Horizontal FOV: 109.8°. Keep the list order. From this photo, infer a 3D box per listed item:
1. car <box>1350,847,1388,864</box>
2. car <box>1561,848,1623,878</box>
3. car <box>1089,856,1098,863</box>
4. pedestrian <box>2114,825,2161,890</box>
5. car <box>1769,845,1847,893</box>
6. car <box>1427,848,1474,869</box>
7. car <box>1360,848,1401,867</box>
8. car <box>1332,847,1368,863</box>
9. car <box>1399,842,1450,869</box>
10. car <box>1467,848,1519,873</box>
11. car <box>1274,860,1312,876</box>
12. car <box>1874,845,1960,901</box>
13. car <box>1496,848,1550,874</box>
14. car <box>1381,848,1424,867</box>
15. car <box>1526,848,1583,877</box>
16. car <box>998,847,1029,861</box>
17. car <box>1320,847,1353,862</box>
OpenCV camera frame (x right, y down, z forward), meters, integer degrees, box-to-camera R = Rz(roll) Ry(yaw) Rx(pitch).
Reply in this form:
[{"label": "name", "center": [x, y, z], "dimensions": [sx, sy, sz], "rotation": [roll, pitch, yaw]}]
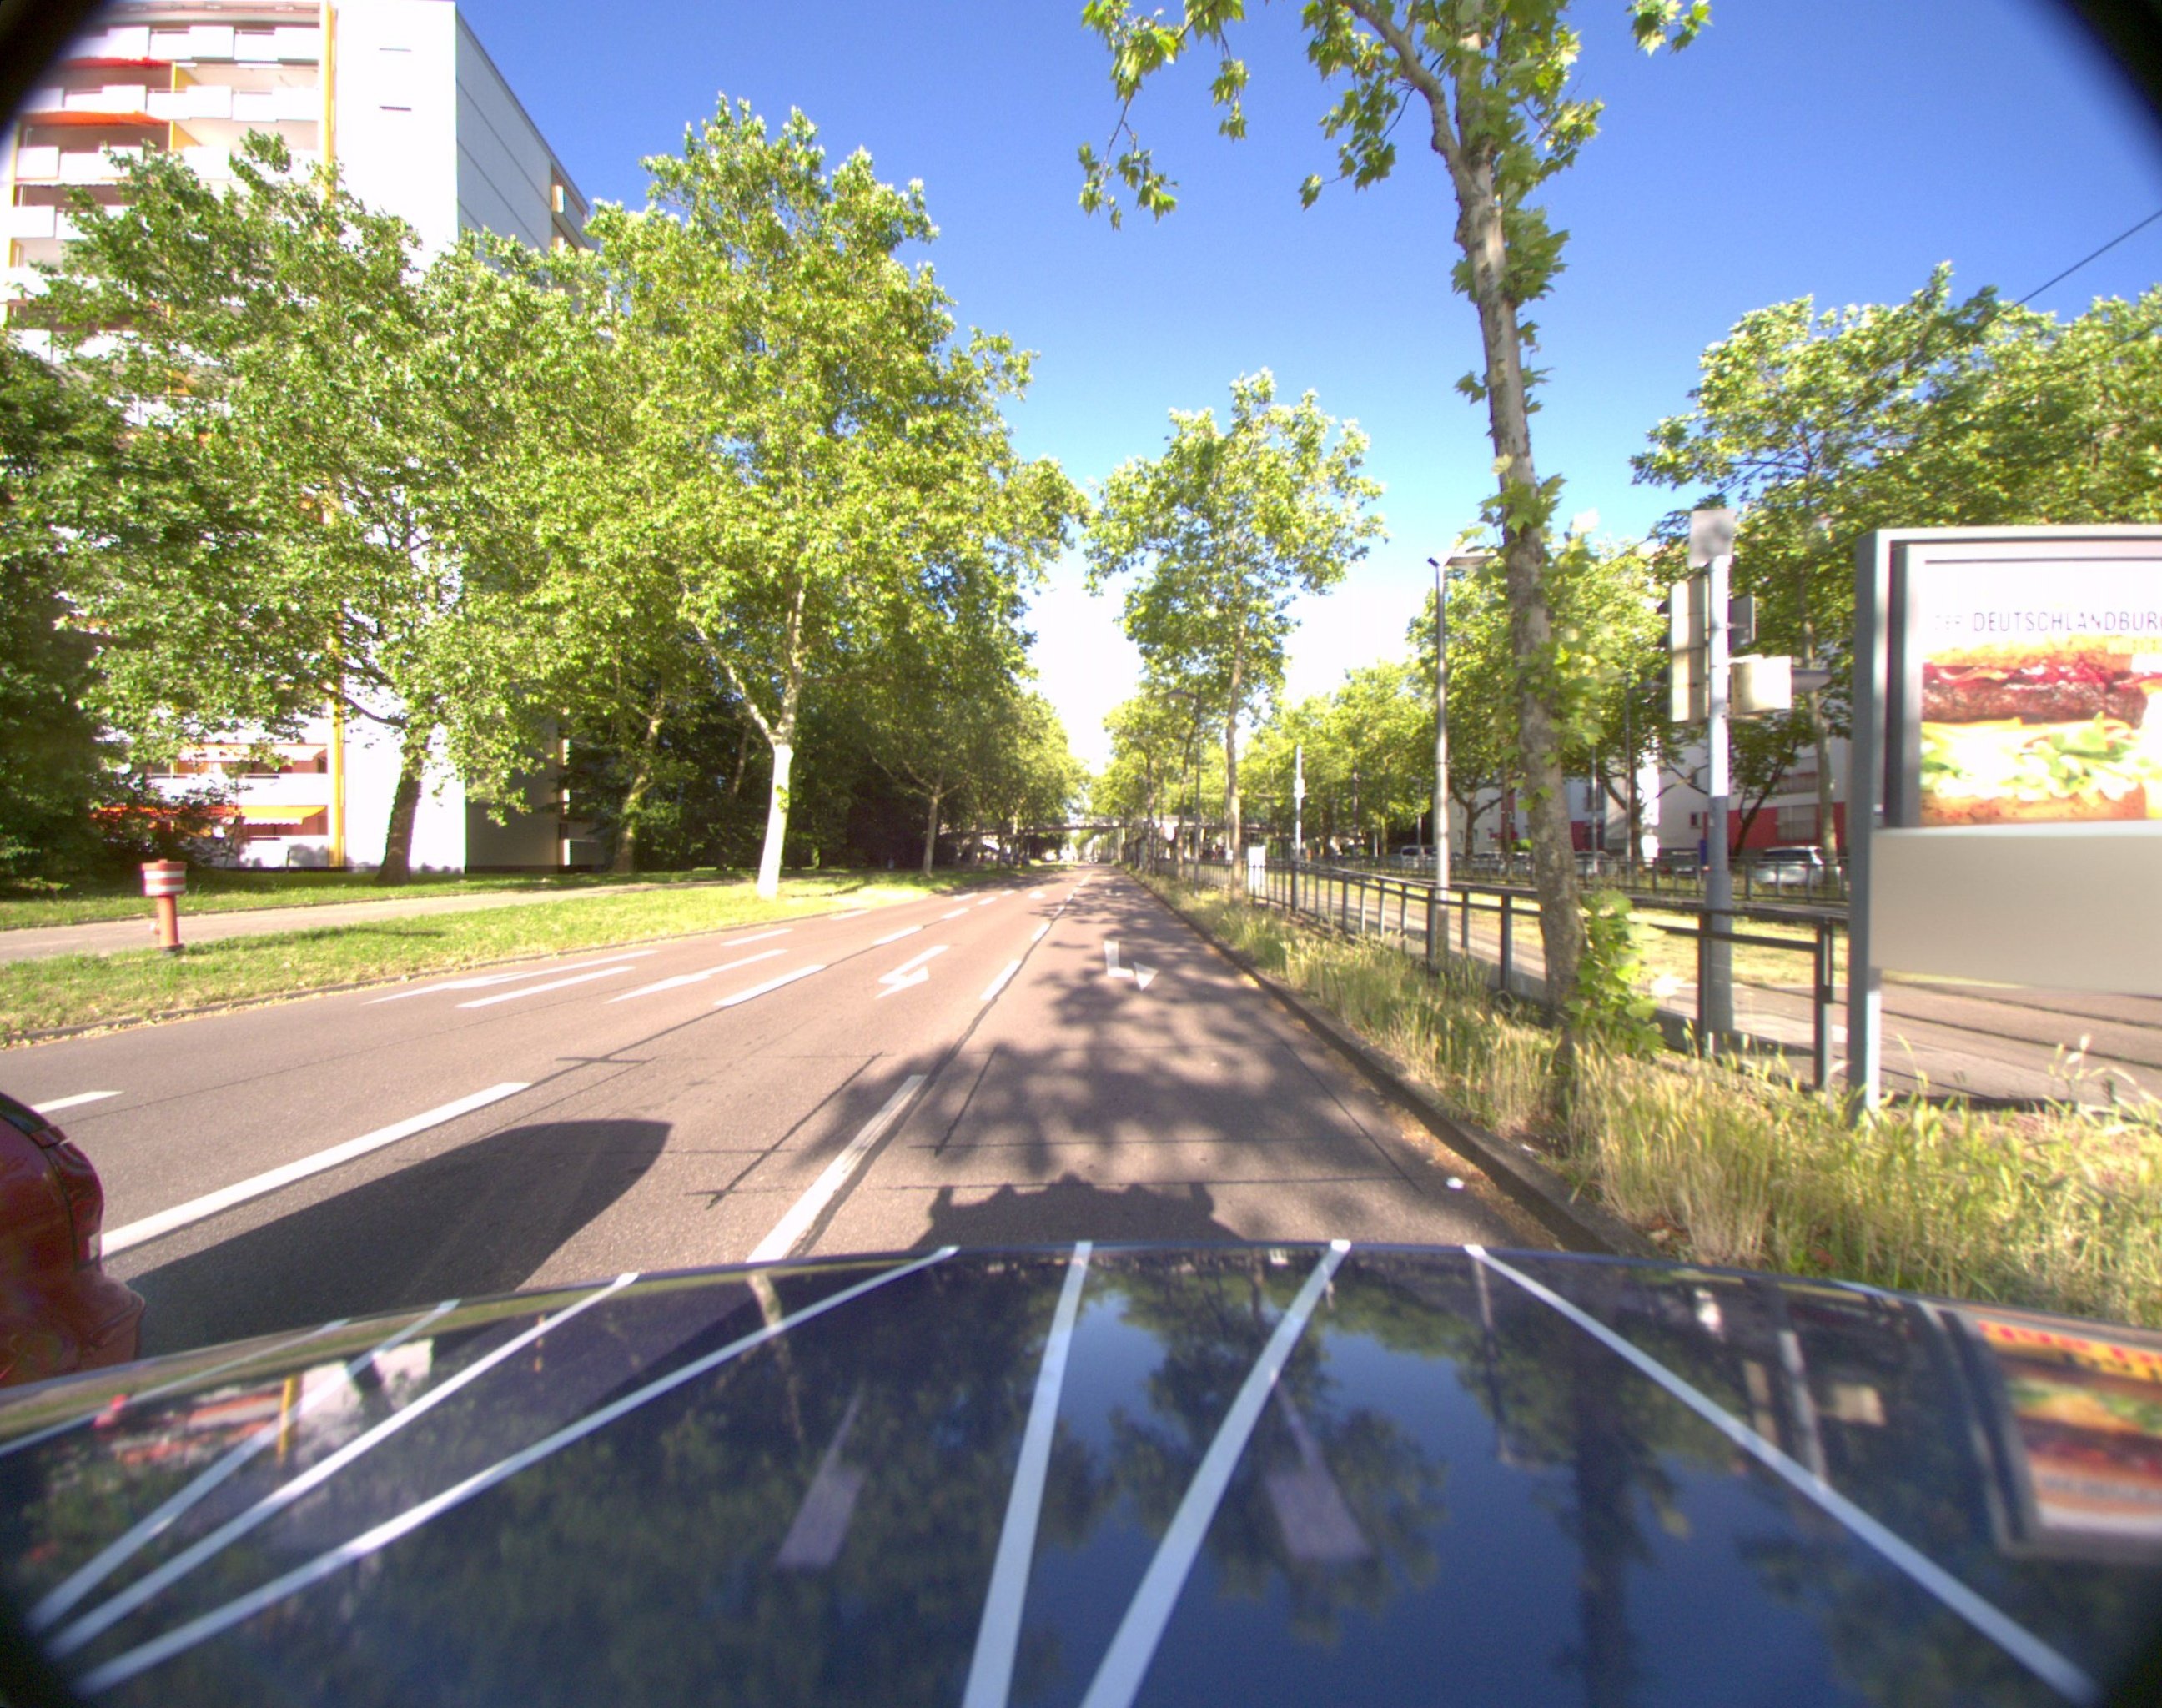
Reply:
[{"label": "car", "center": [26.623, 0.133, 70.126], "dimensions": [3.811, 1.433, 1.652], "rotation": [-2, 0, -42]}, {"label": "car", "center": [25.386, 0.446, 37.690], "dimensions": [3.811, 1.348, 1.652], "rotation": [-2, 0, -42]}, {"label": "car", "center": [2.532, 1.144, 152.189], "dimensions": [1.580, 1.395, 3.638], "rotation": [-2, 0, 0]}, {"label": "pedestrian", "center": [28.927, 0.084, 20.596], "dimensions": [0.764, 1.723, 0.786], "rotation": [-2, 1, -1]}, {"label": "car", "center": [25.362, 0.487, 26.467], "dimensions": [3.811, 1.501, 1.652], "rotation": [-2, 0, -42]}, {"label": "car", "center": [26.306, 0.308, 54.024], "dimensions": [3.811, 1.433, 1.652], "rotation": [-2, 0, -42]}, {"label": "car", "center": [24.947, 0.270, 63.201], "dimensions": [3.811, 1.433, 1.652], "rotation": [-2, 0, -42]}, {"label": "car", "center": [26.069, 0.131, 73.557], "dimensions": [3.811, 1.433, 1.652], "rotation": [-2, 0, -42]}, {"label": "car", "center": [25.822, 0.087, 57.022], "dimensions": [4.330, 1.863, 1.836], "rotation": [-2, 0, -42]}, {"label": "car", "center": [25.855, 0.395, 47.671], "dimensions": [3.811, 1.433, 1.652], "rotation": [-2, 0, -42]}, {"label": "car", "center": [21.046, 1.382, 75.558], "dimensions": [1.657, 1.501, 4.638], "rotation": [-2, 0, -12]}, {"label": "car", "center": [25.248, 0.522, 22.958], "dimensions": [3.811, 1.501, 1.652], "rotation": [-2, 0, -42]}, {"label": "car", "center": [26.102, 0.404, 44.856], "dimensions": [3.811, 1.433, 1.652], "rotation": [-2, 0, -42]}, {"label": "car", "center": [25.733, 0.267, 60.744], "dimensions": [3.811, 1.433, 1.652], "rotation": [-2, 0, -42]}, {"label": "car", "center": [25.867, 0.441, 41.471], "dimensions": [3.811, 1.433, 1.652], "rotation": [-2, 0, -42]}, {"label": "car", "center": [-10.626, -0.007, 118.830], "dimensions": [4.720, 1.924, 1.906], "rotation": [-2, 0, -8]}, {"label": "car", "center": [26.789, 0.043, 79.617], "dimensions": [3.811, 1.433, 1.652], "rotation": [-2, 0, -42]}]
